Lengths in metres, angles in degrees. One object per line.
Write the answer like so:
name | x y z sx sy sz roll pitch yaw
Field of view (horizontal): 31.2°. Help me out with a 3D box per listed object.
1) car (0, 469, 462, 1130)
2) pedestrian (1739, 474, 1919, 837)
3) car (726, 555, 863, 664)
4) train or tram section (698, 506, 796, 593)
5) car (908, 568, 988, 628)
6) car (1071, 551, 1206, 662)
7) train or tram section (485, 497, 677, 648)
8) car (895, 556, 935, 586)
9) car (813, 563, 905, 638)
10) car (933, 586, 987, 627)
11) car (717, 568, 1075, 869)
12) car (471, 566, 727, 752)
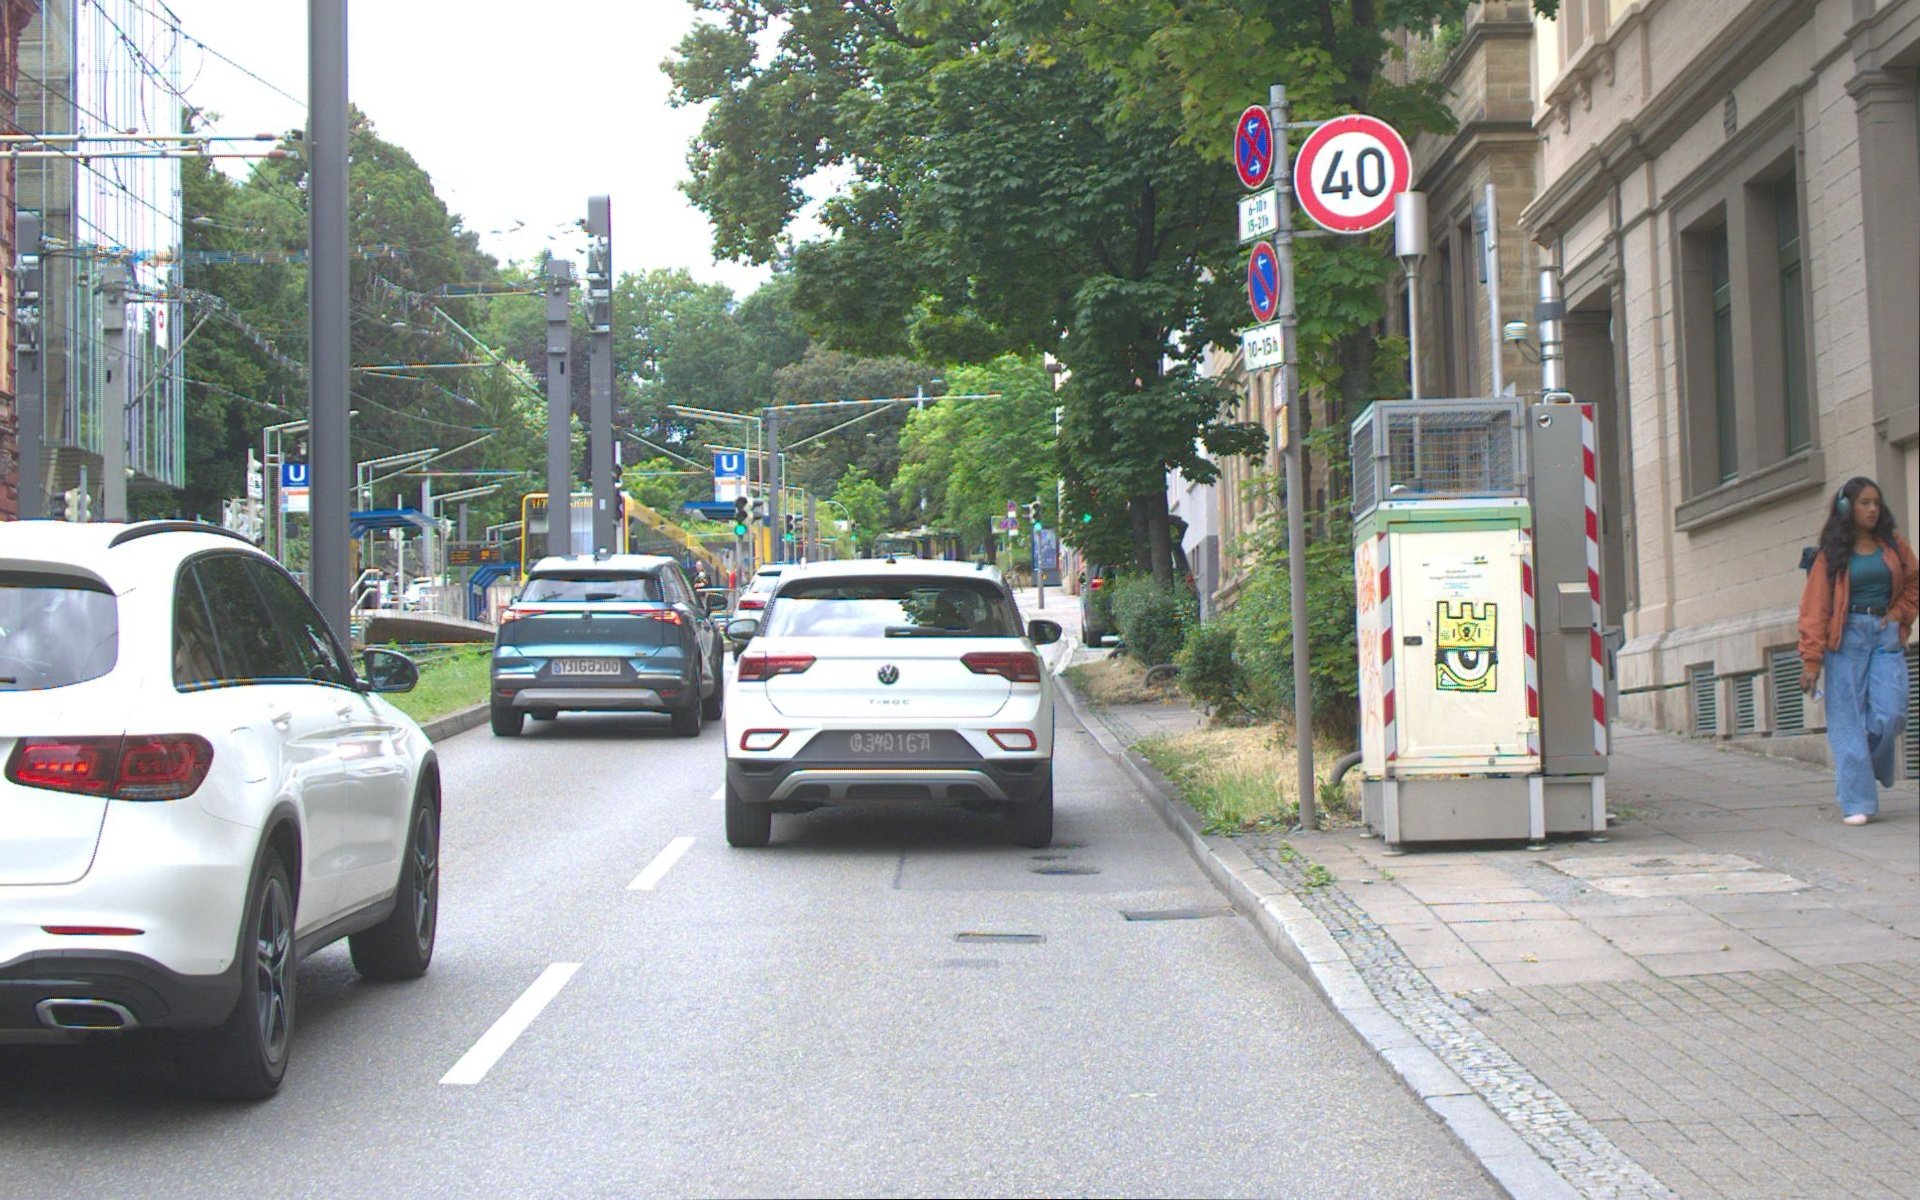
car | -2.855 0.481 10.995 1.835 1.661 4.671 1 0 0
pedestrian | 4.268 0.243 16.354 0.710 1.657 1.127 -1 1 -8
car | -2.437 0.119 51.453 1.835 1.541 4.193 1 0 0
train or tram section | -8.674 -2.028 141.523 2.996 3.337 13.438 -1 0 1
car | -0.317 -0.073 92.221 2.068 1.541 4.193 1 0 0
car | 2.756 0.085 53.943 1.835 1.596 4.193 -3 0 0
train or tram section | -9.067 -0.669 83.996 2.996 3.337 13.438 -1 0 1
car | -2.410 -1.561 185.041 2.068 1.541 4.193 1 0 0
car | -2.133 -0.010 73.504 1.835 1.541 4.193 1 0 0
car | -0.006 0.231 133.242 2.068 1.541 4.193 1 0 0
car | -0.373 0.597 19.824 1.835 1.541 4.194 1 0 -1
car | -3.158 0.477 30.829 1.835 1.541 4.193 1 0 0
